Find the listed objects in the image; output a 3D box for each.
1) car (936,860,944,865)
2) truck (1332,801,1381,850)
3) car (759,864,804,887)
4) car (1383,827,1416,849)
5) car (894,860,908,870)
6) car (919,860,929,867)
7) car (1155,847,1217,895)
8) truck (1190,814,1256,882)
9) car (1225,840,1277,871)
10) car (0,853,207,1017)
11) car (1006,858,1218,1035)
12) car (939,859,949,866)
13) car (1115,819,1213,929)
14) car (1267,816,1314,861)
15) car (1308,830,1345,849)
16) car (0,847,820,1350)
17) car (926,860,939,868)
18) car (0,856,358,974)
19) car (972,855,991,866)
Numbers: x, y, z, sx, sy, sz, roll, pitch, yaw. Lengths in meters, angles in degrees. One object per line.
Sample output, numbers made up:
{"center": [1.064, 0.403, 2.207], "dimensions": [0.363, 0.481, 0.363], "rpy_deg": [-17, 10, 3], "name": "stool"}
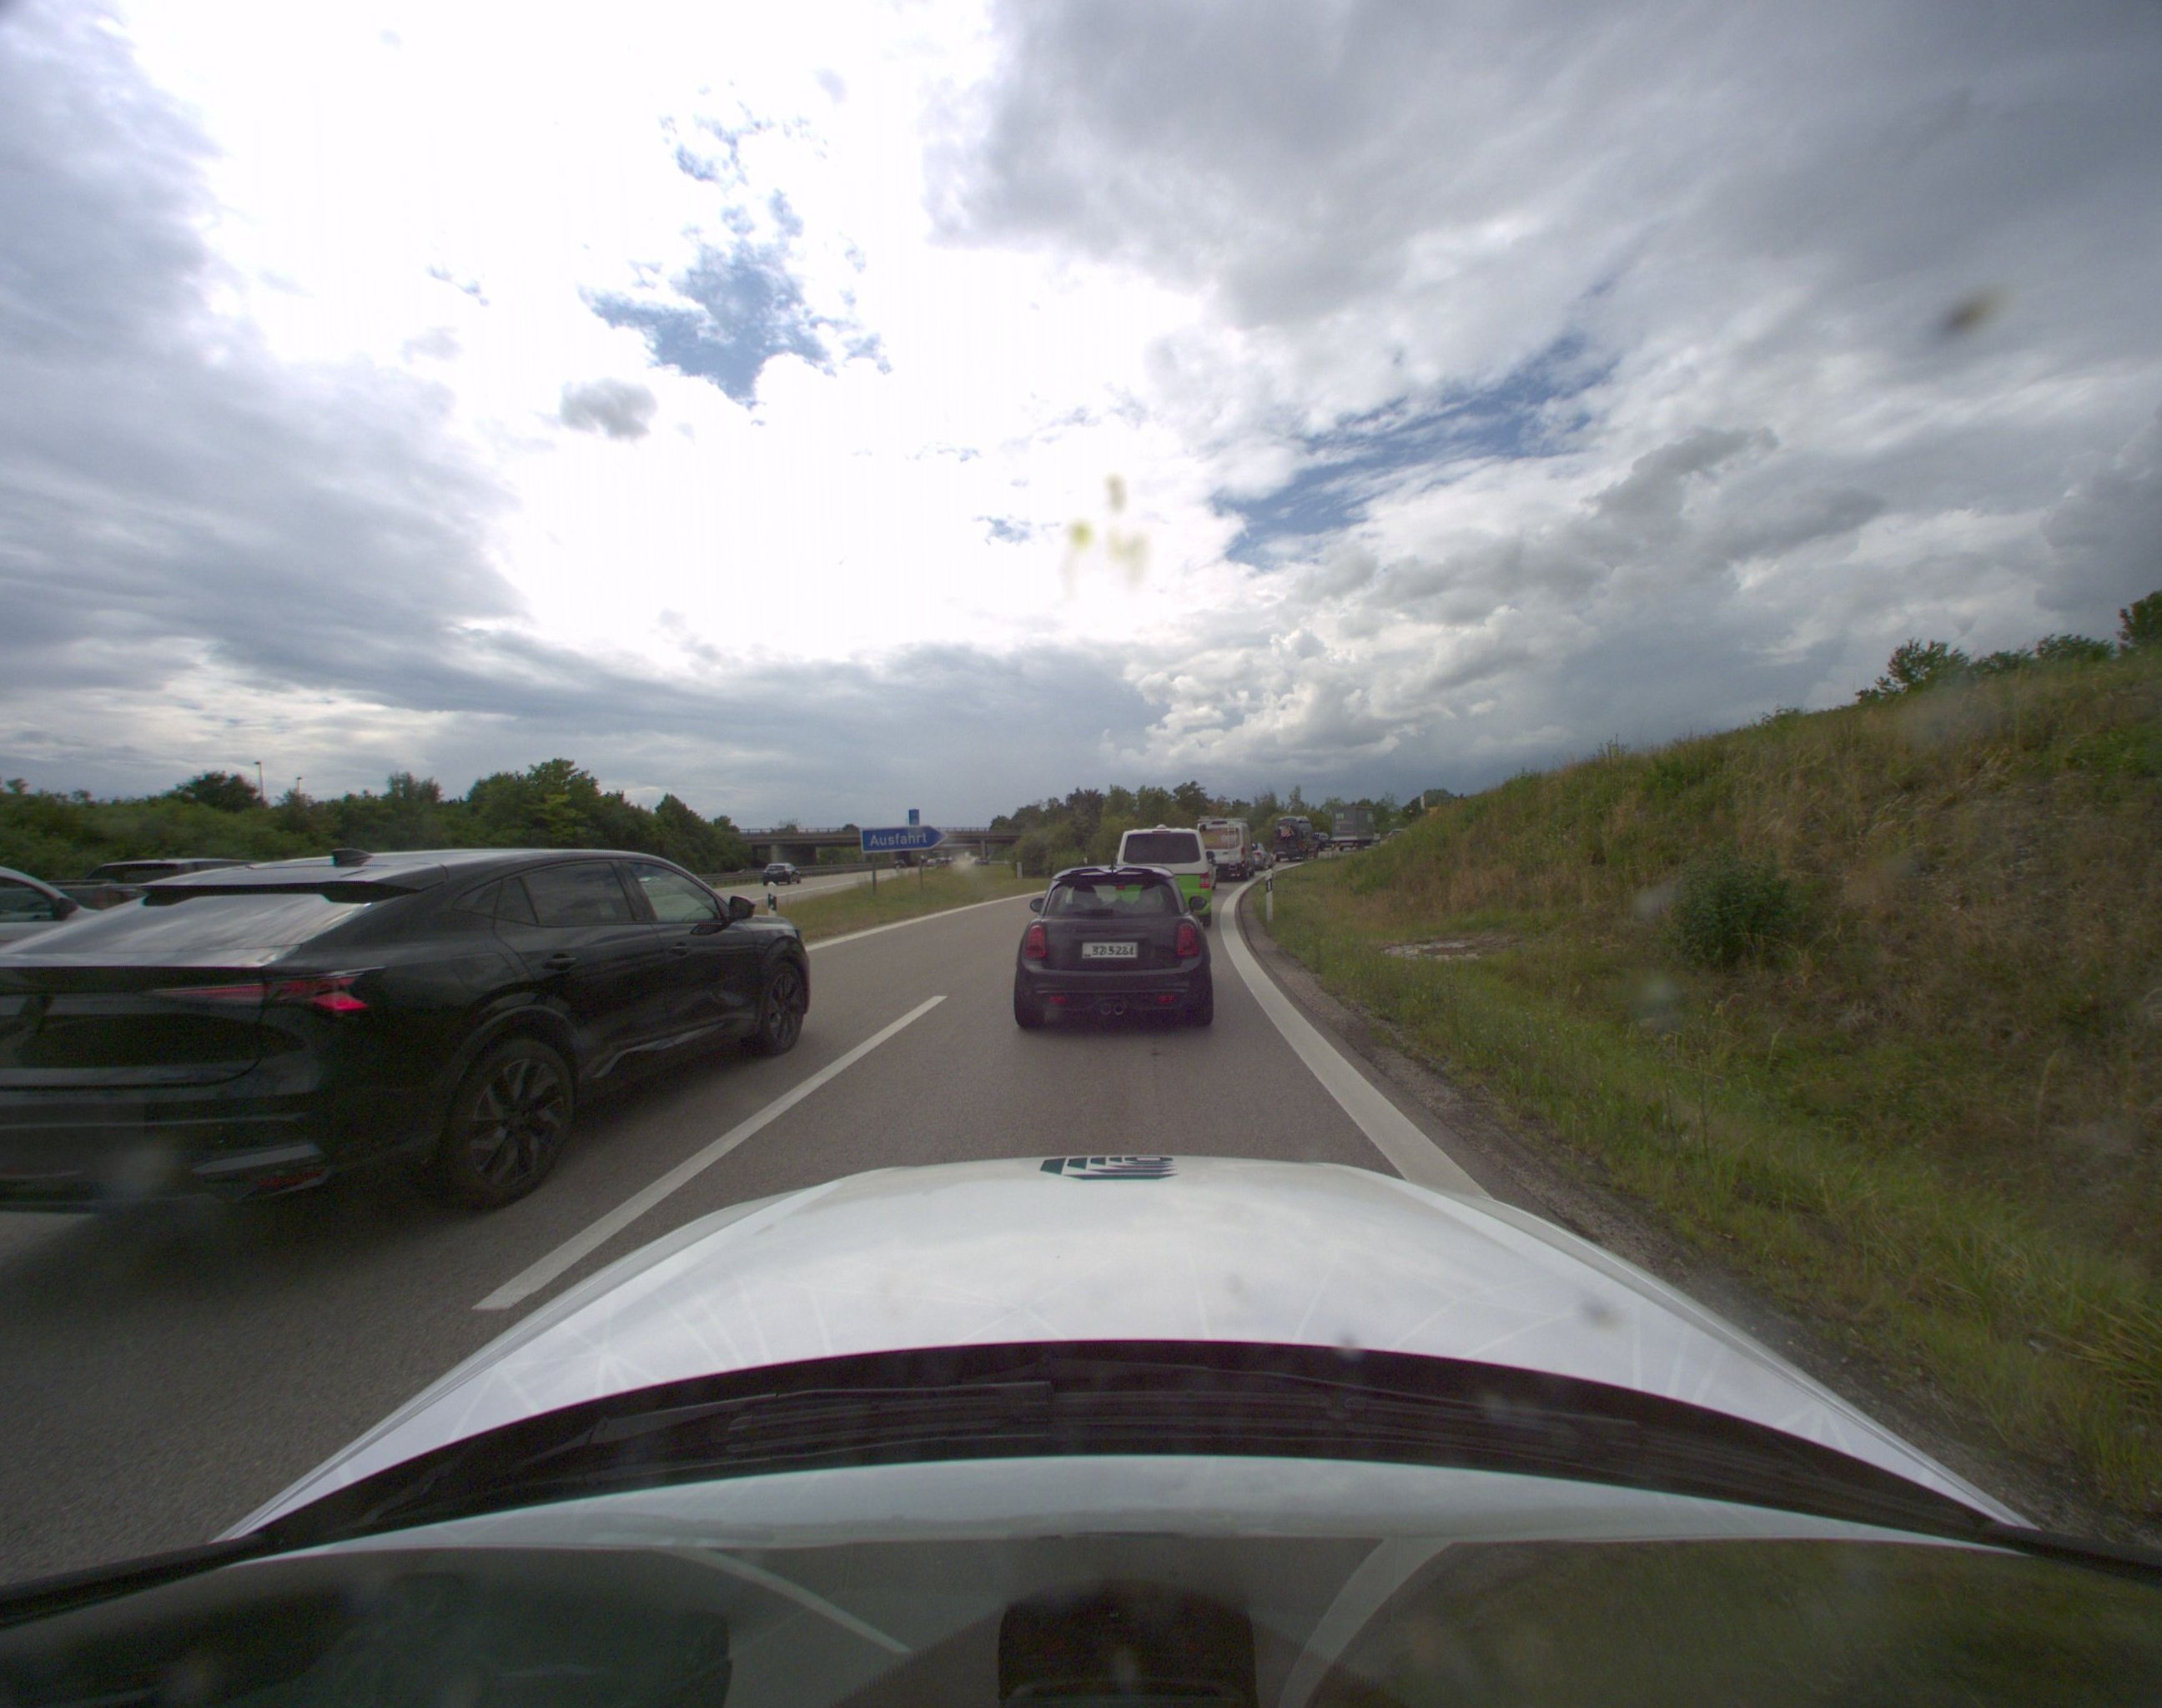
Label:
{"center": [-36.341, 2.165, 210.185], "dimensions": [1.779, 1.399, 4.294], "rpy_deg": [-2, 0, -8], "name": "car"}
{"center": [23.327, -2.292, 68.821], "dimensions": [2.207, 3.907, 6.054], "rpy_deg": [-1, -1, 36], "name": "truck"}
{"center": [-20.677, 1.429, 56.373], "dimensions": [1.720, 1.424, 4.786], "rpy_deg": [-2, 0, -6], "name": "car"}
{"center": [30.503, -1.518, 77.947], "dimensions": [1.974, 2.014, 4.025], "rpy_deg": [-1, -1, 36], "name": "car"}
{"center": [-29.545, 1.791, 133.731], "dimensions": [1.777, 1.399, 4.298], "rpy_deg": [-2, 0, -5], "name": "car"}
{"center": [-32.606, 1.980, 169.427], "dimensions": [1.778, 1.399, 4.295], "rpy_deg": [-2, 0, -7], "name": "car"}
{"center": [3.504, 0.517, 26.694], "dimensions": [1.751, 1.399, 3.736], "rpy_deg": [-2, 0, 11], "name": "car"}
{"center": [6.191, -0.294, 35.031], "dimensions": [2.162, 2.658, 5.131], "rpy_deg": [-2, 1, 16], "name": "truck"}
{"center": [9.135, 0.060, 43.606], "dimensions": [1.849, 1.510, 4.023], "rpy_deg": [-2, 0, 24], "name": "car"}
{"center": [-12.484, 0.898, 8.608], "dimensions": [1.874, 1.751, 4.477], "rpy_deg": [-2, 0, -6], "name": "car"}
{"center": [0.320, 0.776, 8.582], "dimensions": [1.720, 1.413, 3.727], "rpy_deg": [-1, 0, 2], "name": "car"}
{"center": [-31.003, 1.947, 184.359], "dimensions": [1.777, 1.399, 4.022], "rpy_deg": [-2, 0, -4], "name": "car"}
{"center": [1.865, 0.371, 17.133], "dimensions": [1.773, 2.013, 4.010], "rpy_deg": [-1, 0, 9], "name": "car"}
{"center": [13.707, -0.989, 53.141], "dimensions": [2.085, 2.796, 4.024], "rpy_deg": [-1, 0, 27], "name": "car"}
{"center": [21.438, -1.200, 70.977], "dimensions": [1.778, 1.556, 3.986], "rpy_deg": [-2, -1, 37], "name": "car"}
{"center": [-3.333, 0.768, 4.837], "dimensions": [1.825, 1.566, 4.503], "rpy_deg": [0, 0, 4], "name": "car"}
{"center": [-26.579, 1.765, 145.739], "dimensions": [1.777, 1.399, 4.542], "rpy_deg": [-2, 0, -5], "name": "car"}
{"center": [-16.862, 0.978, 15.355], "dimensions": [1.991, 1.785, 5.400], "rpy_deg": [-2, 0, -6], "name": "car"}
{"center": [-17.361, 1.150, 141.910], "dimensions": [2.005, 2.014, 3.963], "rpy_deg": [0, -1, -28], "name": "car"}
